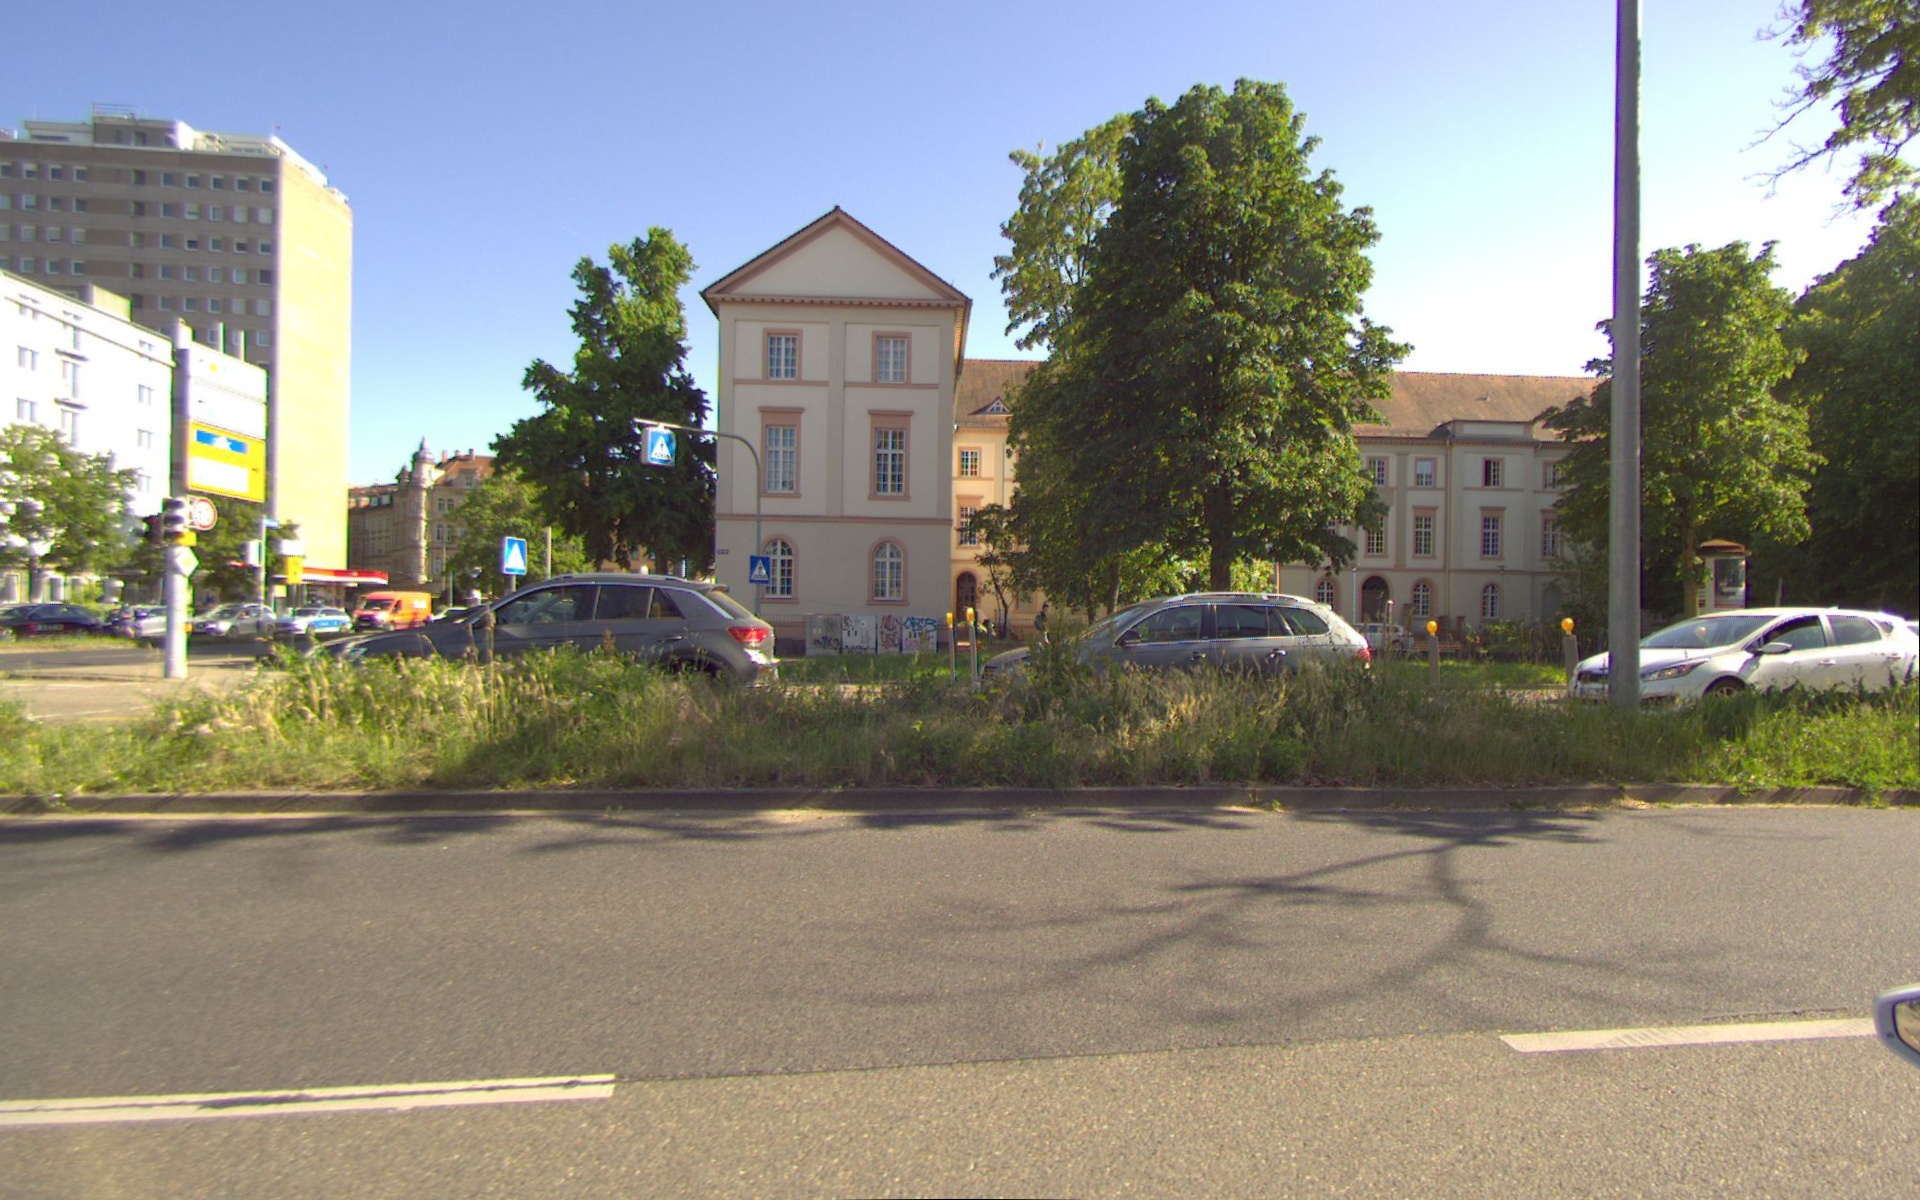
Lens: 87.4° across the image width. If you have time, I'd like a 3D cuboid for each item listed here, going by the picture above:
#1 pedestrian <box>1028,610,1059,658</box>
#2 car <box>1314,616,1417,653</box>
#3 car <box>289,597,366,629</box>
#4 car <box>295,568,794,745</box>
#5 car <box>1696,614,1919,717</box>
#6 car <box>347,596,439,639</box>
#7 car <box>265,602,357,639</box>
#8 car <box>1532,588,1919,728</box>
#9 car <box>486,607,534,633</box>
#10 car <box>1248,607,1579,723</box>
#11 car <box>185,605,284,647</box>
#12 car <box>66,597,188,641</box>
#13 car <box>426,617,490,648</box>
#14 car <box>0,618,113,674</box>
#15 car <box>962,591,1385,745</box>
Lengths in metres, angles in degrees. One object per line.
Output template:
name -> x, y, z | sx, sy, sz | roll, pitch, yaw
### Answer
pedestrian -> 2.781, 1.128, 33.362 | 0.768, 1.556, 0.740 | 2, 0, -14
car -> 20.741, 1.758, 51.434 | 4.601, 1.512, 1.645 | 4, 0, -9
car -> -36.120, 0.733, 57.518 | 1.882, 1.639, 3.999 | 4, 0, -2
car -> -3.857, 0.540, 10.066 | 4.268, 1.539, 1.798 | 2, 0, -9
car -> 14.552, 1.037, 16.404 | 4.006, 1.539, 1.798 | 1, 0, -10
car -> -33.024, 0.980, 58.769 | 1.881, 2.260, 5.900 | 4, 0, 0
car -> -32.606, 0.976, 50.638 | 1.883, 1.639, 4.706 | 4, 0, -6
car -> 9.483, 0.685, 12.278 | 4.129, 1.539, 1.798 | 1, 0, -10
car -> -35.062, 1.560, 78.349 | 1.961, 1.840, 3.999 | 4, 0, -2
car -> 6.783, 0.952, 15.217 | 4.268, 1.539, 1.798 | 2, 0, -9
car -> -32.131, 1.127, 44.627 | 1.532, 1.639, 3.998 | 4, 0, -3
car -> -35.271, 0.762, 42.691 | 1.882, 1.639, 3.998 | 4, 0, -3
car -> -33.774, 2.152, 67.753 | 1.881, 1.838, 4.711 | 4, 0, 0
car -> -32.125, 1.532, 34.536 | 1.881, 1.639, 4.712 | 4, 0, 1
car -> 2.283, 0.702, 11.274 | 4.284, 1.539, 1.798 | 1, 1, -9
